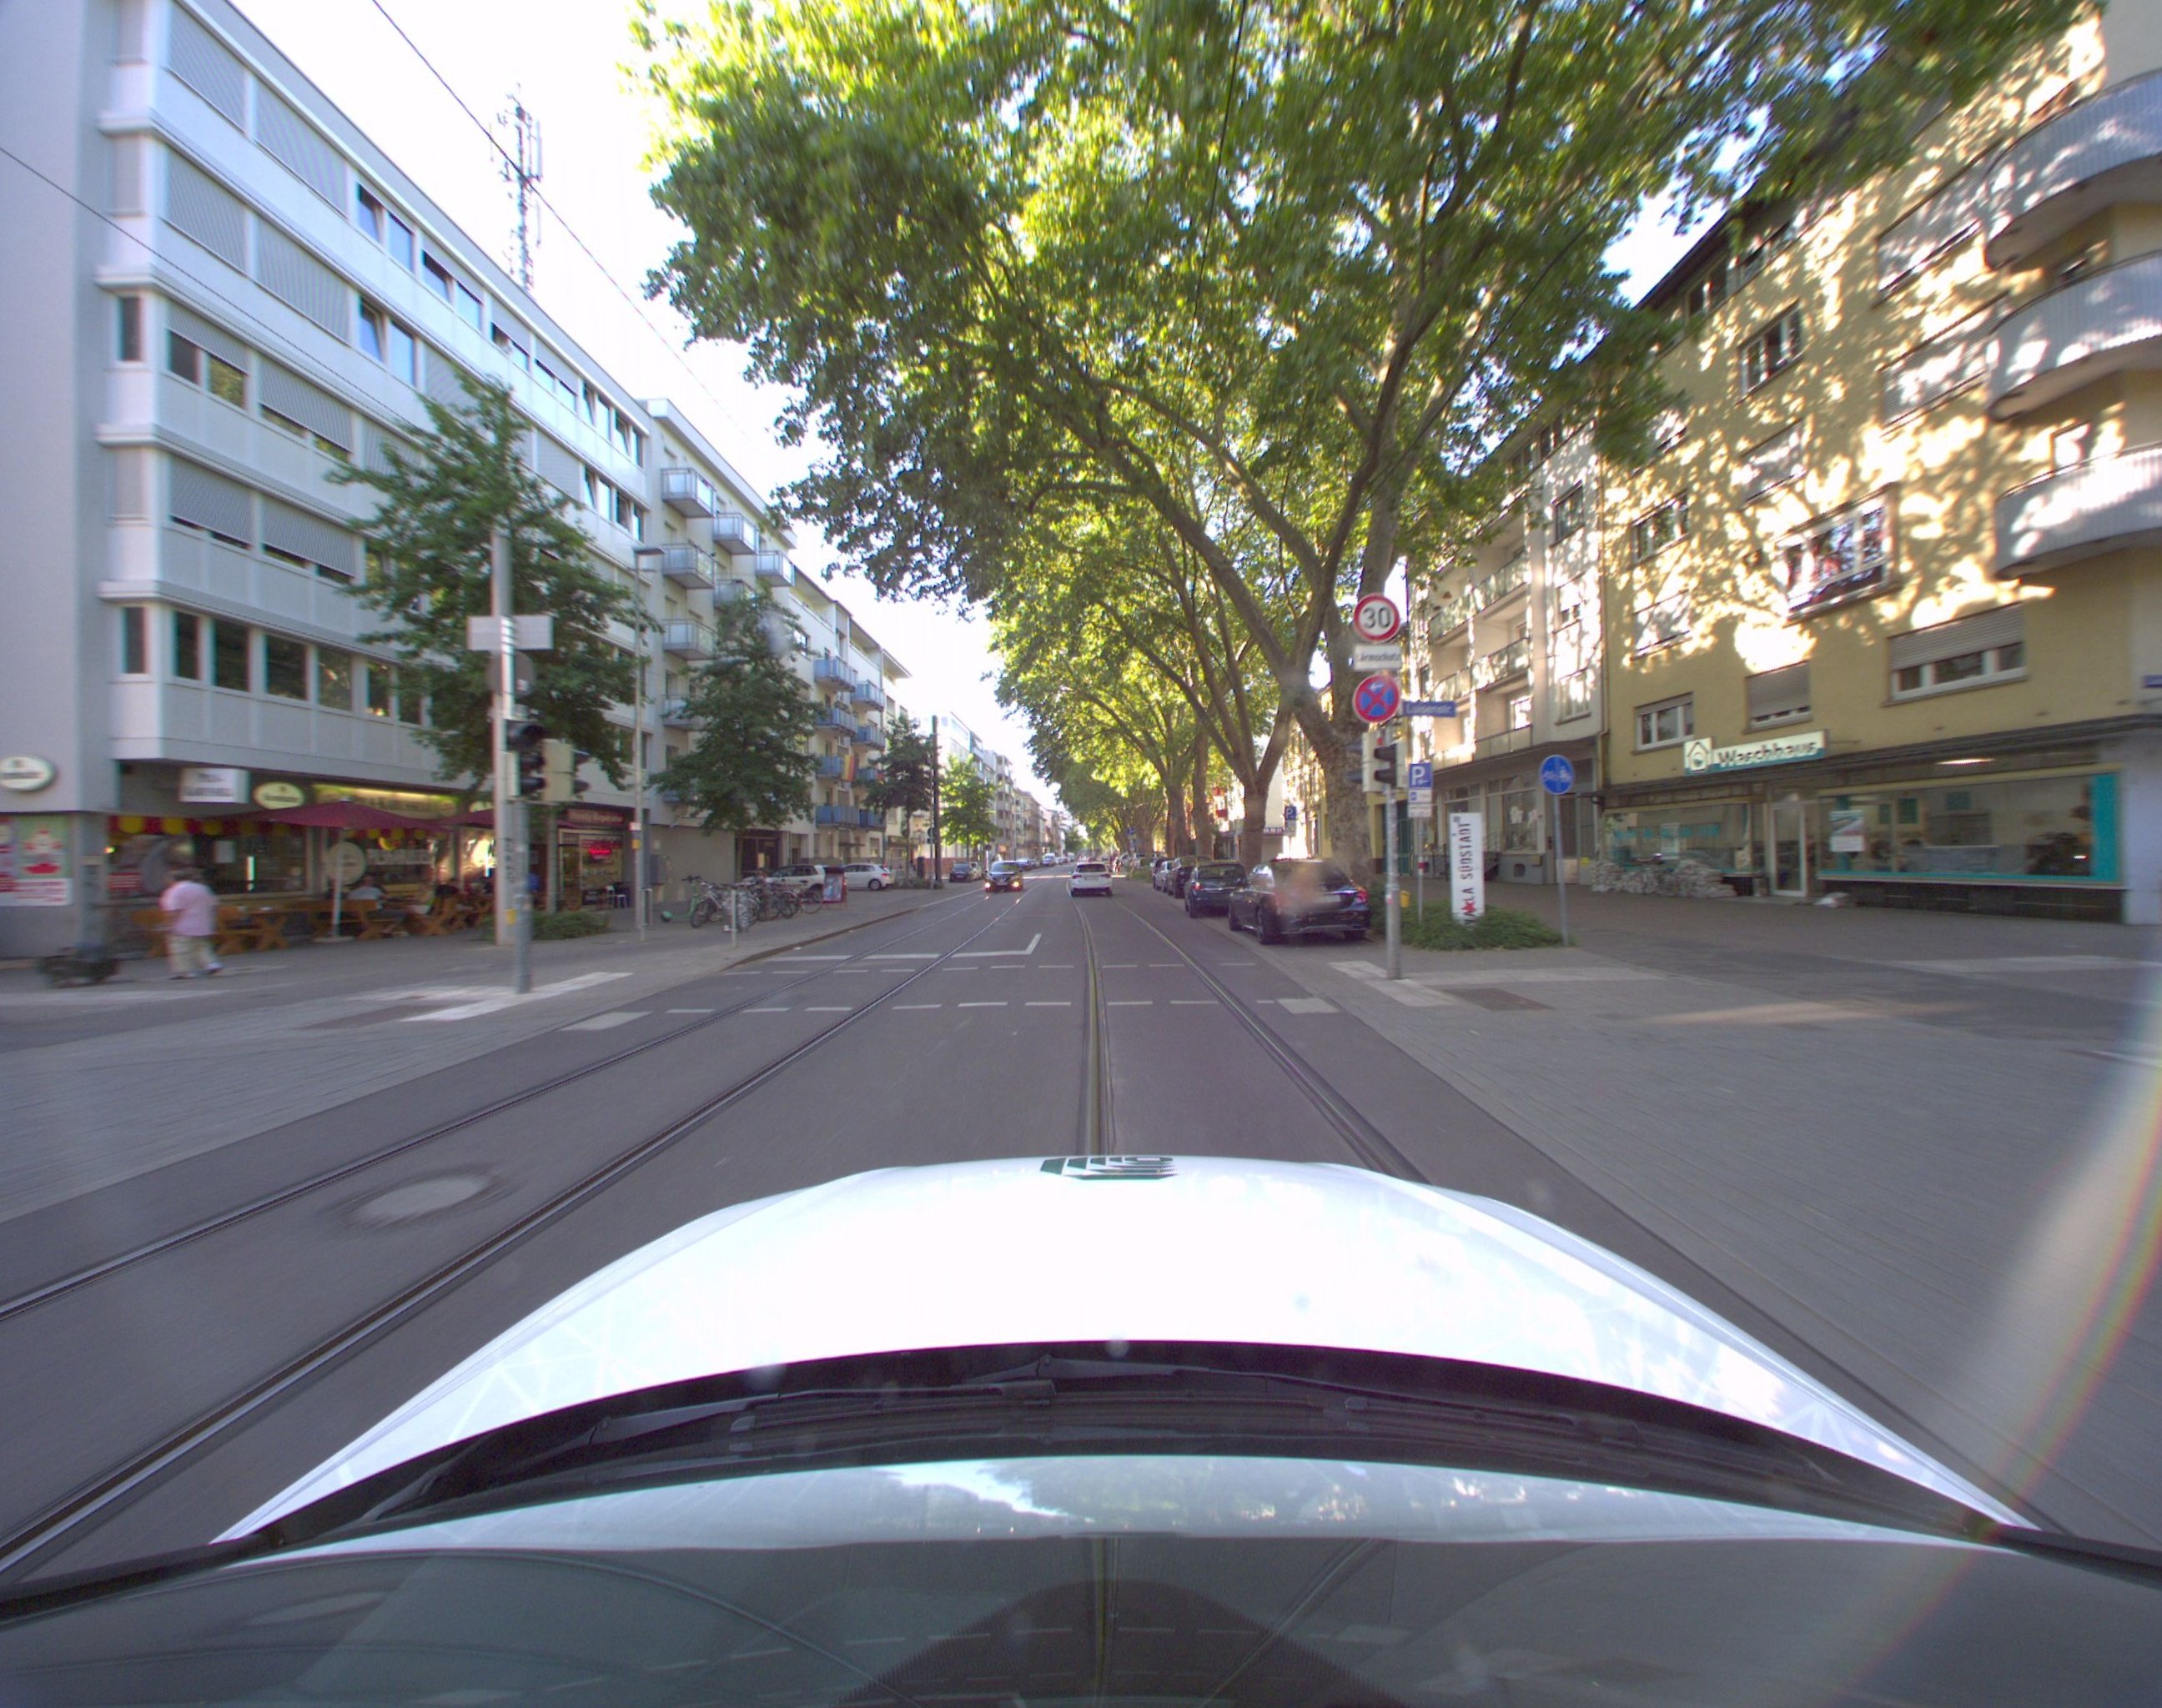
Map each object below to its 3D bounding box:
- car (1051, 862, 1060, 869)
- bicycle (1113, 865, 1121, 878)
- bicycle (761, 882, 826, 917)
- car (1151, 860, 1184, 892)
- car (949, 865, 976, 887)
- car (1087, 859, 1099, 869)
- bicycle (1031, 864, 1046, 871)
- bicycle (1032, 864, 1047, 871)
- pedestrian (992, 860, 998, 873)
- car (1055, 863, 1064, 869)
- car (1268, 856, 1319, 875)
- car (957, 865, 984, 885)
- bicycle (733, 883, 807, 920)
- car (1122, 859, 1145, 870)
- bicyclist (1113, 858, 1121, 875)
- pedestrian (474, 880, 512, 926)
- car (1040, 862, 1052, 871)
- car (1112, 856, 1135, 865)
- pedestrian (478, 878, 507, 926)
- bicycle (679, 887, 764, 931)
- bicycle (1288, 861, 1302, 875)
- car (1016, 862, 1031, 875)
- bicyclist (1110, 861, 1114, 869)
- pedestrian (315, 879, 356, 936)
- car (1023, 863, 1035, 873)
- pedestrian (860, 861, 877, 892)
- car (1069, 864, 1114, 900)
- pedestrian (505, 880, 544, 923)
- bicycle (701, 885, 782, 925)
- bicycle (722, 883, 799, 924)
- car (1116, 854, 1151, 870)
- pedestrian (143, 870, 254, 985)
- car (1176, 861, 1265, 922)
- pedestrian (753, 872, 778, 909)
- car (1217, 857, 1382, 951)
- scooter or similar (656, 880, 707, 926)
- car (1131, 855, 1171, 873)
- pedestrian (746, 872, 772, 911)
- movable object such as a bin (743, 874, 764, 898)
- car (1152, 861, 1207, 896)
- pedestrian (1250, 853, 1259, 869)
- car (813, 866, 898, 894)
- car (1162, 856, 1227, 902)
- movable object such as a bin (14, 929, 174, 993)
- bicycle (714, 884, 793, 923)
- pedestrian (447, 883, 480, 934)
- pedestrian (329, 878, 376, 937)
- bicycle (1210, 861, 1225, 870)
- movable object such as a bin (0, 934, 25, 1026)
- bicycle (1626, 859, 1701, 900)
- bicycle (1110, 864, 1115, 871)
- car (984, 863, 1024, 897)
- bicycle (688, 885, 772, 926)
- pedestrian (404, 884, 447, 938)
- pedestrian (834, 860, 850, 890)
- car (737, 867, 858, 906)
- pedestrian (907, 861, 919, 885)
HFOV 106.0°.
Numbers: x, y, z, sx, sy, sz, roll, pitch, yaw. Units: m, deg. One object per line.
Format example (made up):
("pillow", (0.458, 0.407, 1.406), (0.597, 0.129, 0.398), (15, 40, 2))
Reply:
("car", (-5.814, 2.653, 185.954), (1.986, 1.530, 4.001), (-1, -1, 1))
("bicycle", (3.155, 1.506, 71.178), (0.679, 1.071, 1.781), (-2, -1, 2))
("bicycle", (-8.572, 1.349, 24.312), (1.687, 1.007, 0.657), (0, -1, -4))
("car", (4.456, 1.143, 42.292), (1.557, 1.519, 2.913), (-3, -1, 3))
("car", (-8.626, 1.574, 59.761), (1.711, 1.464, 3.992), (2, -1, -6))
("car", (1.942, 1.574, 128.160), (1.755, 1.476, 4.001), (-2, -1, 2))
("bicycle", (-7.405, 2.383, 141.879), (2.545, 1.172, 0.873), (2, -3, -39))
("bicycle", (-7.321, 2.394, 142.760), (2.521, 1.172, 0.718), (1, -2, -6))
("pedestrian", (-11.675, 1.680, 110.630), (0.661, 1.826, 0.965), (-1, -1, 0))
("car", (-5.361, 2.891, 199.913), (1.986, 1.530, 4.001), (-1, -1, 1))
("car", (19.603, 1.047, 75.182), (4.123, 1.593, 1.997), (-1, -1, -4))
("car", (-8.724, 1.648, 64.549), (1.709, 1.464, 4.372), (2, -1, -3))
("bicycle", (-8.744, 1.339, 22.930), (1.825, 1.007, 0.657), (0, -1, -4))
("car", (8.429, 1.729, 131.590), (3.619, 1.666, 1.824), (-1, -1, 3))
("bicyclist", (3.138, 1.102, 71.068), (0.676, 1.443, 1.047), (-2, -1, 2))
("pedestrian", (-16.216, 1.344, 22.471), (0.560, 1.198, 0.624), (-1, -1, 0))
("car", (-6.590, 2.312, 153.905), (1.986, 1.530, 4.001), (-1, -1, 1))
("car", (11.588, 1.879, 222.677), (6.112, 2.282, 2.528), (-1, -1, -1))
("pedestrian", (-15.233, 1.234, 21.101), (0.514, 1.198, 0.558), (-1, -1, -28))
("bicycle", (-8.484, 1.293, 19.254), (1.687, 1.007, 0.657), (0, -1, -4))
("bicycle", (17.180, 1.098, 65.434), (0.580, 1.104, 1.923), (-3, -1, 1))
("car", (-7.719, 1.900, 109.479), (1.697, 1.650, 4.240), (1, 0, 0))
("bicyclist", (5.102, 1.831, 133.314), (0.647, 1.344, 0.934), (-1, -1, -1))
("pedestrian", (-16.042, 1.137, 17.525), (0.566, 1.198, 0.508), (-1, -1, -34))
("car", (-7.918, 2.135, 124.832), (1.648, 1.437, 3.835), (-1, 0, 0))
("pedestrian", (-12.017, 1.259, 46.036), (0.761, 1.691, 0.794), (-1, -1, -1))
("car", (0.415, 1.143, 34.580), (1.756, 1.384, 3.999), (-2, -1, 0))
("pedestrian", (-16.230, 1.370, 23.758), (0.670, 1.198, 0.655), (-1, -1, 0))
("bicycle", (-8.816, 1.326, 21.189), (1.825, 1.007, 0.657), (0, -1, -4))
("bicycle", (-8.699, 1.331, 22.154), (1.825, 1.064, 0.657), (0, -1, -4))
("car", (9.230, 1.379, 143.842), (6.112, 2.635, 2.528), (-1, -1, -1))
("pedestrian", (-12.577, 1.025, 11.634), (0.724, 1.556, 0.767), (-1, -1, -4))
("car", (3.719, 0.944, 22.366), (1.857, 1.437, 4.229), (-2, -1, 3))
("pedestrian", (-11.457, 1.315, 29.609), (0.713, 1.297, 0.908), (-1, -1, -13))
("car", (3.919, 0.824, 15.534), (1.759, 1.462, 5.011), (-1, -1, 0))
("scooter or similar", (-10.386, 1.275, 21.187), (1.076, 1.176, 0.498), (0, -1, -1))
("car", (8.270, 1.182, 96.848), (4.531, 2.076, 1.999), (-1, -1, -2))
("pedestrian", (-11.216, 1.293, 28.366), (0.713, 1.297, 0.744), (-1, -1, -13))
("movable object such as a bin", (-14.546, 1.425, 36.175), (0.675, 1.055, 0.622), (-2, -1, 3))
("car", (4.483, 1.137, 37.752), (1.812, 1.436, 4.598), (-2, -1, -2))
("pedestrian", (17.545, 0.732, 82.169), (0.743, 1.644, 0.666), (-1, -1, 2))
("car", (-11.958, 1.366, 43.303), (4.001, 1.475, 1.850), (0, -1, -2))
("car", (4.406, 0.964, 32.351), (1.852, 1.603, 4.780), (-2, -1, 0))
("movable object such as a bin", (-13.471, 1.442, 11.155), (1.197, 0.757, 0.661), (0, -1, -21))
("bicycle", (-8.769, 1.307, 21.836), (1.825, 1.007, 0.657), (0, -1, -4))
("pedestrian", (-15.337, 1.337, 20.234), (0.604, 1.198, 0.685), (-1, -1, -34))
("pedestrian", (-15.347, 1.120, 17.168), (0.512, 1.198, 0.561), (-1, -1, -15))
("bicycle", (17.427, 1.442, 104.133), (1.787, 1.041, 0.617), (-3, -1, -3))
("movable object such as a bin", (-11.547, 1.333, 8.381), (0.540, 0.932, 0.646), (-1, -1, -16))
("bicycle", (15.206, 0.656, 21.308), (0.569, 0.997, 1.778), (-3, -1, -3))
("bicycle", (5.115, 2.163, 133.297), (0.647, 1.071, 1.582), (-1, -1, -1))
("car", (-3.853, 1.268, 41.253), (1.867, 1.590, 4.140), (1, 0, -4))
("bicycle", (-8.918, 1.310, 20.749), (1.825, 1.007, 0.657), (0, -1, -4))
("pedestrian", (-15.170, 1.319, 18.851), (0.509, 1.198, 0.564), (-2, -1, 3))
("pedestrian", (-13.880, 1.216, 47.330), (0.662, 1.691, 0.748), (-1, -1, -1))
("car", (-10.954, 1.255, 31.654), (3.997, 1.475, 1.852), (0, -1, 1))
("pedestrian", (-12.287, 1.382, 59.627), (0.662, 1.691, 0.748), (-1, -1, -1))
